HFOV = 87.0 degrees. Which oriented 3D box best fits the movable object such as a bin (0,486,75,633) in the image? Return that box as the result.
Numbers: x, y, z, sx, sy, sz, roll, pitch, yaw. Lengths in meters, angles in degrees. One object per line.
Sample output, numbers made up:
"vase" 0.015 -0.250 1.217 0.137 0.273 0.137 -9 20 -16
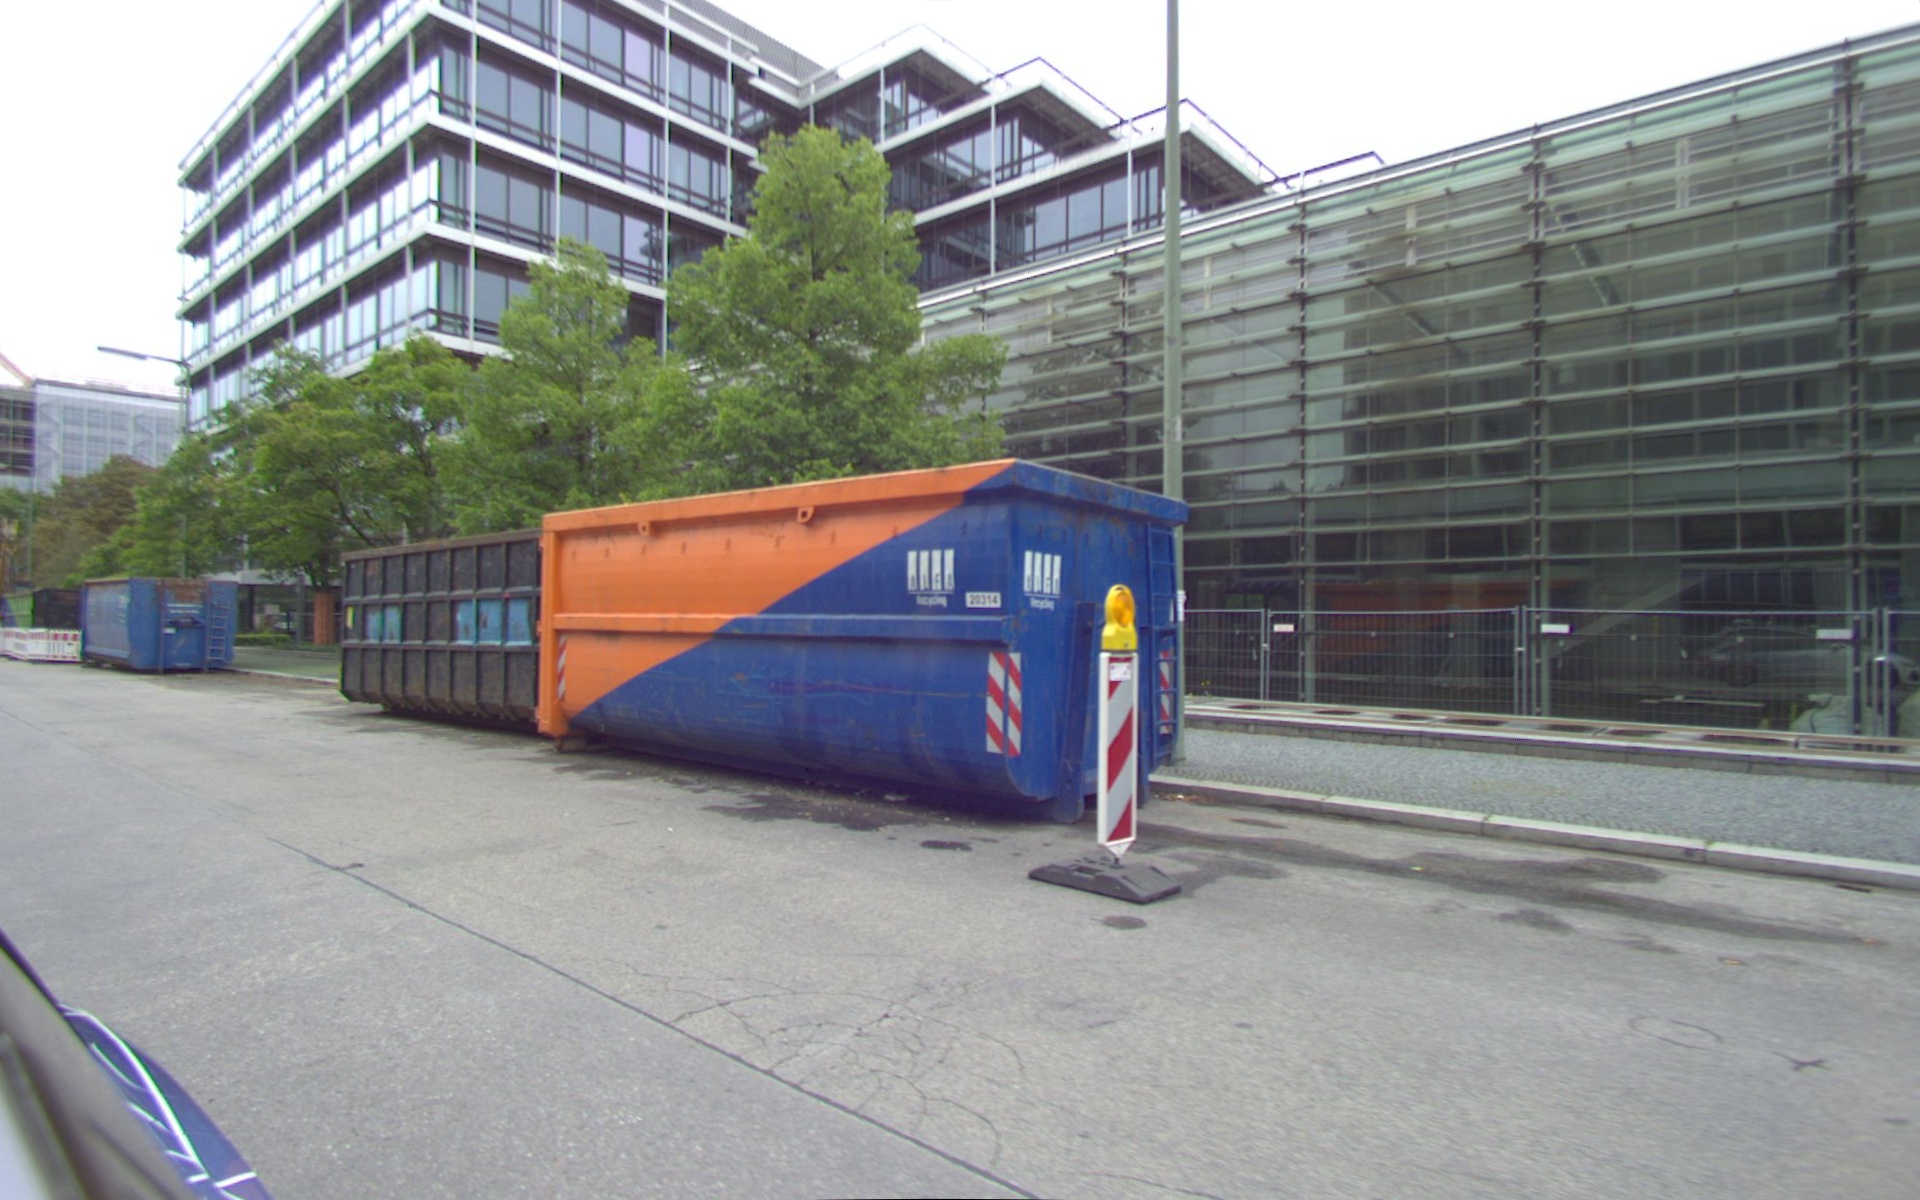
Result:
"movable object such as a bin" -47.179 -1.764 50.450 11.776 6.614 2.874 -1 -2 41
